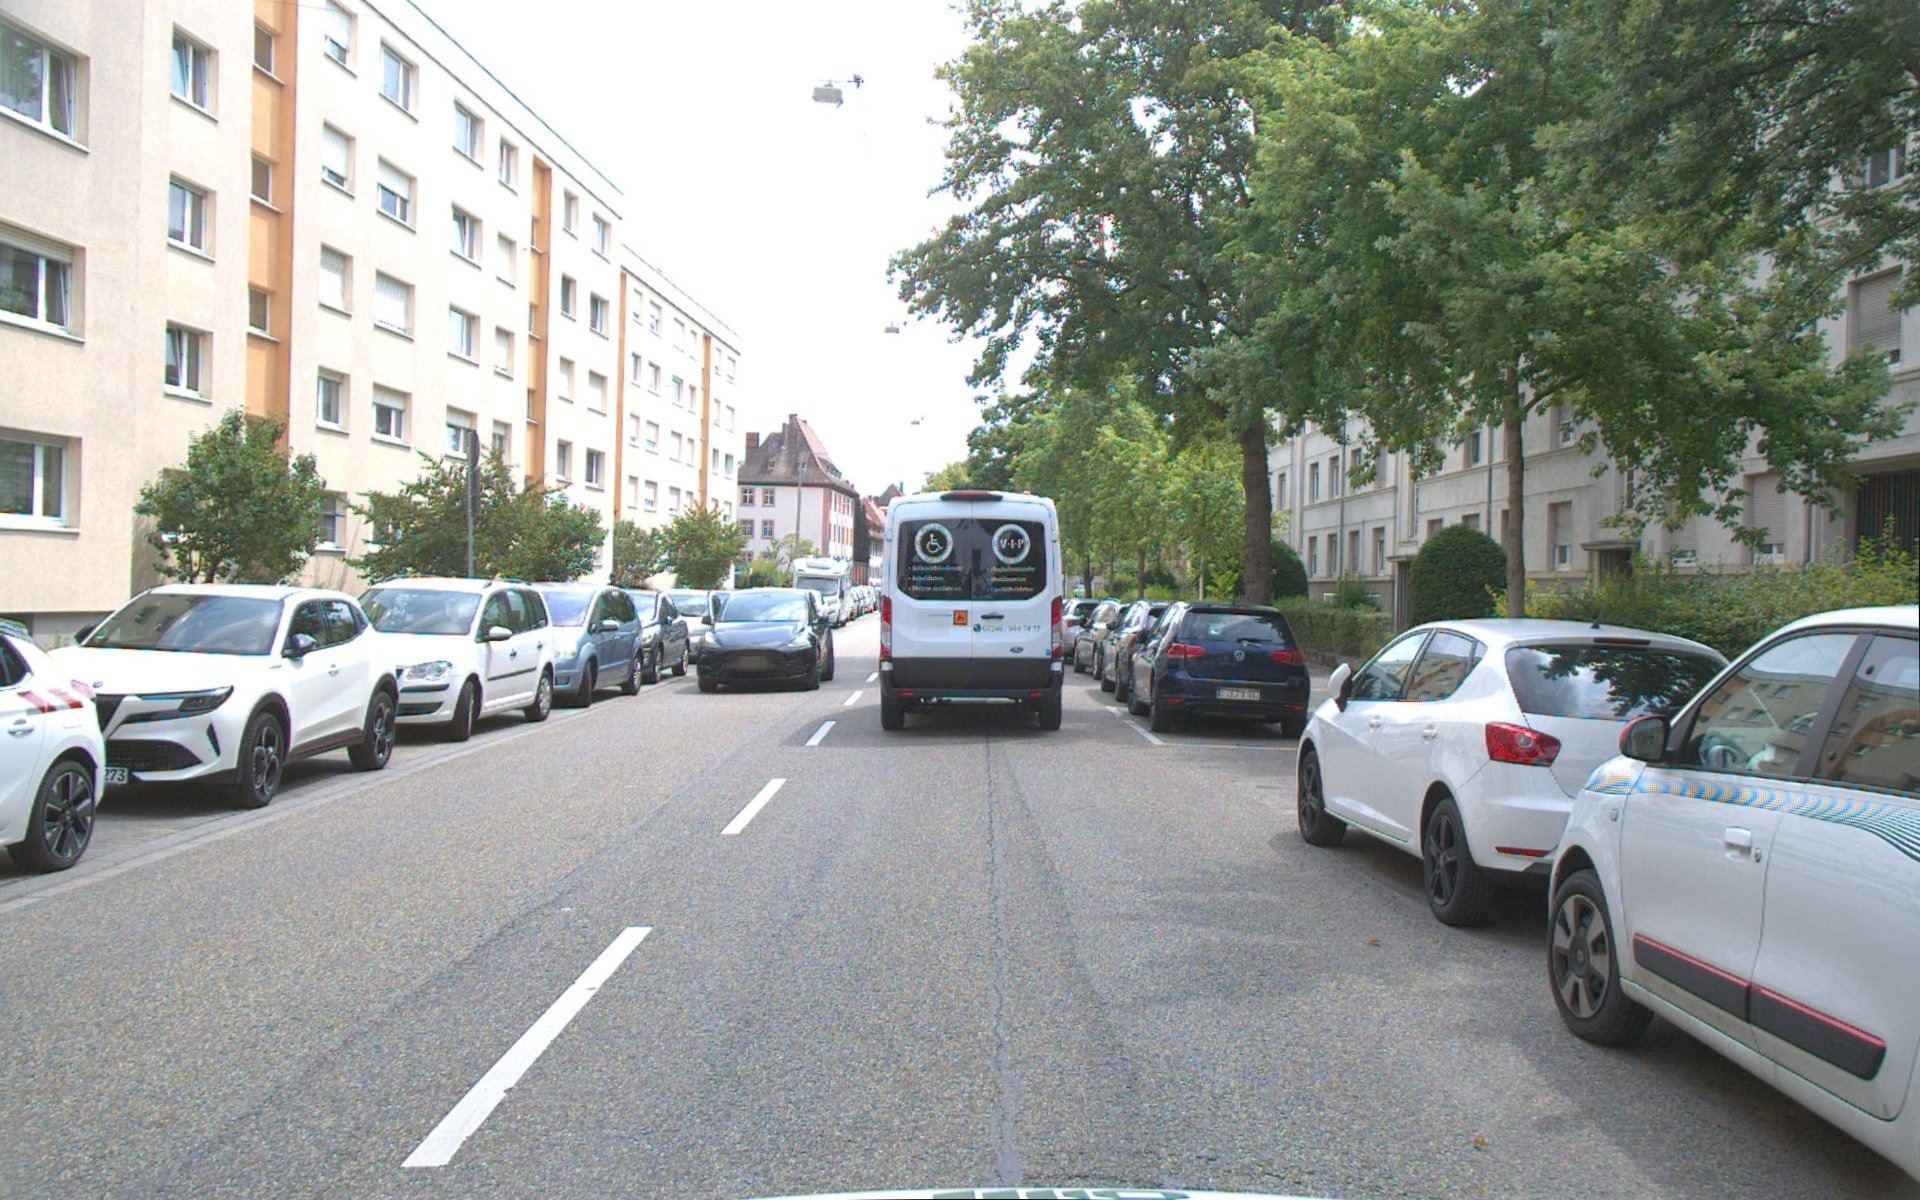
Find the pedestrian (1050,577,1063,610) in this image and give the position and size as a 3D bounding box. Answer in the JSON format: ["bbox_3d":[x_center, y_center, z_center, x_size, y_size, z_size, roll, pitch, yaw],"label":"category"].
[{"bbox_3d":[5.509,-0.362,94.311,0.519,1.860,0.516,0,0,-43],"label":"pedestrian"}]

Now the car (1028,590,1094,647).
[{"bbox_3d":[2.912,0.510,48.270,1.743,1.495,4.616,3,1,3],"label":"car"}]

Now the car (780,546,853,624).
[{"bbox_3d":[-6.087,-0.649,70.994,2.460,3.076,7.395,2,0,-1],"label":"car"}]

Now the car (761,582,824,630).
[{"bbox_3d":[-5.925,0.186,58.892,1.719,1.607,4.568,1,0,0],"label":"car"}]

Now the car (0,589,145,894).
[{"bbox_3d":[-5.673,0.702,7.676,1.673,1.498,3.990,3,0,1],"label":"car"}]

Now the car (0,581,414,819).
[{"bbox_3d":[-5.725,0.639,12.887,1.674,1.498,3.988,3,0,-2],"label":"car"}]

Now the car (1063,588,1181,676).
[{"bbox_3d":[3.080,0.564,32.373,1.663,1.495,4.753,3,1,-2],"label":"car"}]

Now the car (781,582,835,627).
[{"bbox_3d":[-5.844,0.153,64.073,1.654,1.607,4.593,3,1,-1],"label":"car"}]

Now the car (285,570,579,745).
[{"bbox_3d":[-5.718,0.547,18.520,1.662,1.641,4.478,3,0,2],"label":"car"}]

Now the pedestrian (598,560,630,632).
[{"bbox_3d":[-9.051,-0.115,43.277,0.607,1.844,0.899,2,0,-3],"label":"pedestrian"}]

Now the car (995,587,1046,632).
[{"bbox_3d":[2.364,0.362,65.523,1.626,1.610,4.284,4,0,-2],"label":"car"}]

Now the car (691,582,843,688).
[{"bbox_3d":[-3.063,0.506,27.150,1.911,1.547,4.613,-1,0,0],"label":"car"}]

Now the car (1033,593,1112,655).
[{"bbox_3d":[2.893,0.601,43.133,1.636,1.425,3.851,4,0,-1],"label":"car"}]

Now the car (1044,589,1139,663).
[{"bbox_3d":[2.947,0.543,37.871,1.663,1.495,4.717,3,1,-1],"label":"car"}]

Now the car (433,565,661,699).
[{"bbox_3d":[-5.803,0.396,23.901,1.902,1.641,4.862,3,0,1],"label":"car"}]

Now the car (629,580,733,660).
[{"bbox_3d":[-6.087,0.407,36.437,1.636,1.589,3.851,3,0,-1],"label":"car"}]

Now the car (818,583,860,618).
[{"bbox_3d":[-6.076,0.002,83.253,1.848,1.607,5.217,3,1,-2],"label":"car"}]

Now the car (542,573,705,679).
[{"bbox_3d":[-5.838,0.412,29.177,1.902,1.641,4.302,3,0,0],"label":"car"}]

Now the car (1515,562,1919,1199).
[{"bbox_3d":[2.956,0.765,4.540,1.572,1.635,3.805,3,0,1],"label":"car"}]

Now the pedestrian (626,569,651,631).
[{"bbox_3d":[-9.549,-0.006,49.129,0.607,1.844,0.803,0,0,-3],"label":"pedestrian"}]

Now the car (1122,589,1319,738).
[{"bbox_3d":[2.971,0.658,19.623,1.662,1.495,4.101,3,1,0],"label":"car"}]

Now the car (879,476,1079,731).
[{"bbox_3d":[0.118,0.034,19.148,2.028,2.585,4.633,0,0,-2],"label":"car"}]

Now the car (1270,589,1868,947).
[{"bbox_3d":[3.009,0.715,9.162,1.663,1.475,4.100,2,1,-2],"label":"car"}]

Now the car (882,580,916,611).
[{"bbox_3d":[-3.252,-0.268,88.740,1.781,1.613,4.435,0,1,-1],"label":"car"}]

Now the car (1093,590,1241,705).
[{"bbox_3d":[3.046,0.641,25.132,1.662,1.495,4.560,3,1,0],"label":"car"}]
